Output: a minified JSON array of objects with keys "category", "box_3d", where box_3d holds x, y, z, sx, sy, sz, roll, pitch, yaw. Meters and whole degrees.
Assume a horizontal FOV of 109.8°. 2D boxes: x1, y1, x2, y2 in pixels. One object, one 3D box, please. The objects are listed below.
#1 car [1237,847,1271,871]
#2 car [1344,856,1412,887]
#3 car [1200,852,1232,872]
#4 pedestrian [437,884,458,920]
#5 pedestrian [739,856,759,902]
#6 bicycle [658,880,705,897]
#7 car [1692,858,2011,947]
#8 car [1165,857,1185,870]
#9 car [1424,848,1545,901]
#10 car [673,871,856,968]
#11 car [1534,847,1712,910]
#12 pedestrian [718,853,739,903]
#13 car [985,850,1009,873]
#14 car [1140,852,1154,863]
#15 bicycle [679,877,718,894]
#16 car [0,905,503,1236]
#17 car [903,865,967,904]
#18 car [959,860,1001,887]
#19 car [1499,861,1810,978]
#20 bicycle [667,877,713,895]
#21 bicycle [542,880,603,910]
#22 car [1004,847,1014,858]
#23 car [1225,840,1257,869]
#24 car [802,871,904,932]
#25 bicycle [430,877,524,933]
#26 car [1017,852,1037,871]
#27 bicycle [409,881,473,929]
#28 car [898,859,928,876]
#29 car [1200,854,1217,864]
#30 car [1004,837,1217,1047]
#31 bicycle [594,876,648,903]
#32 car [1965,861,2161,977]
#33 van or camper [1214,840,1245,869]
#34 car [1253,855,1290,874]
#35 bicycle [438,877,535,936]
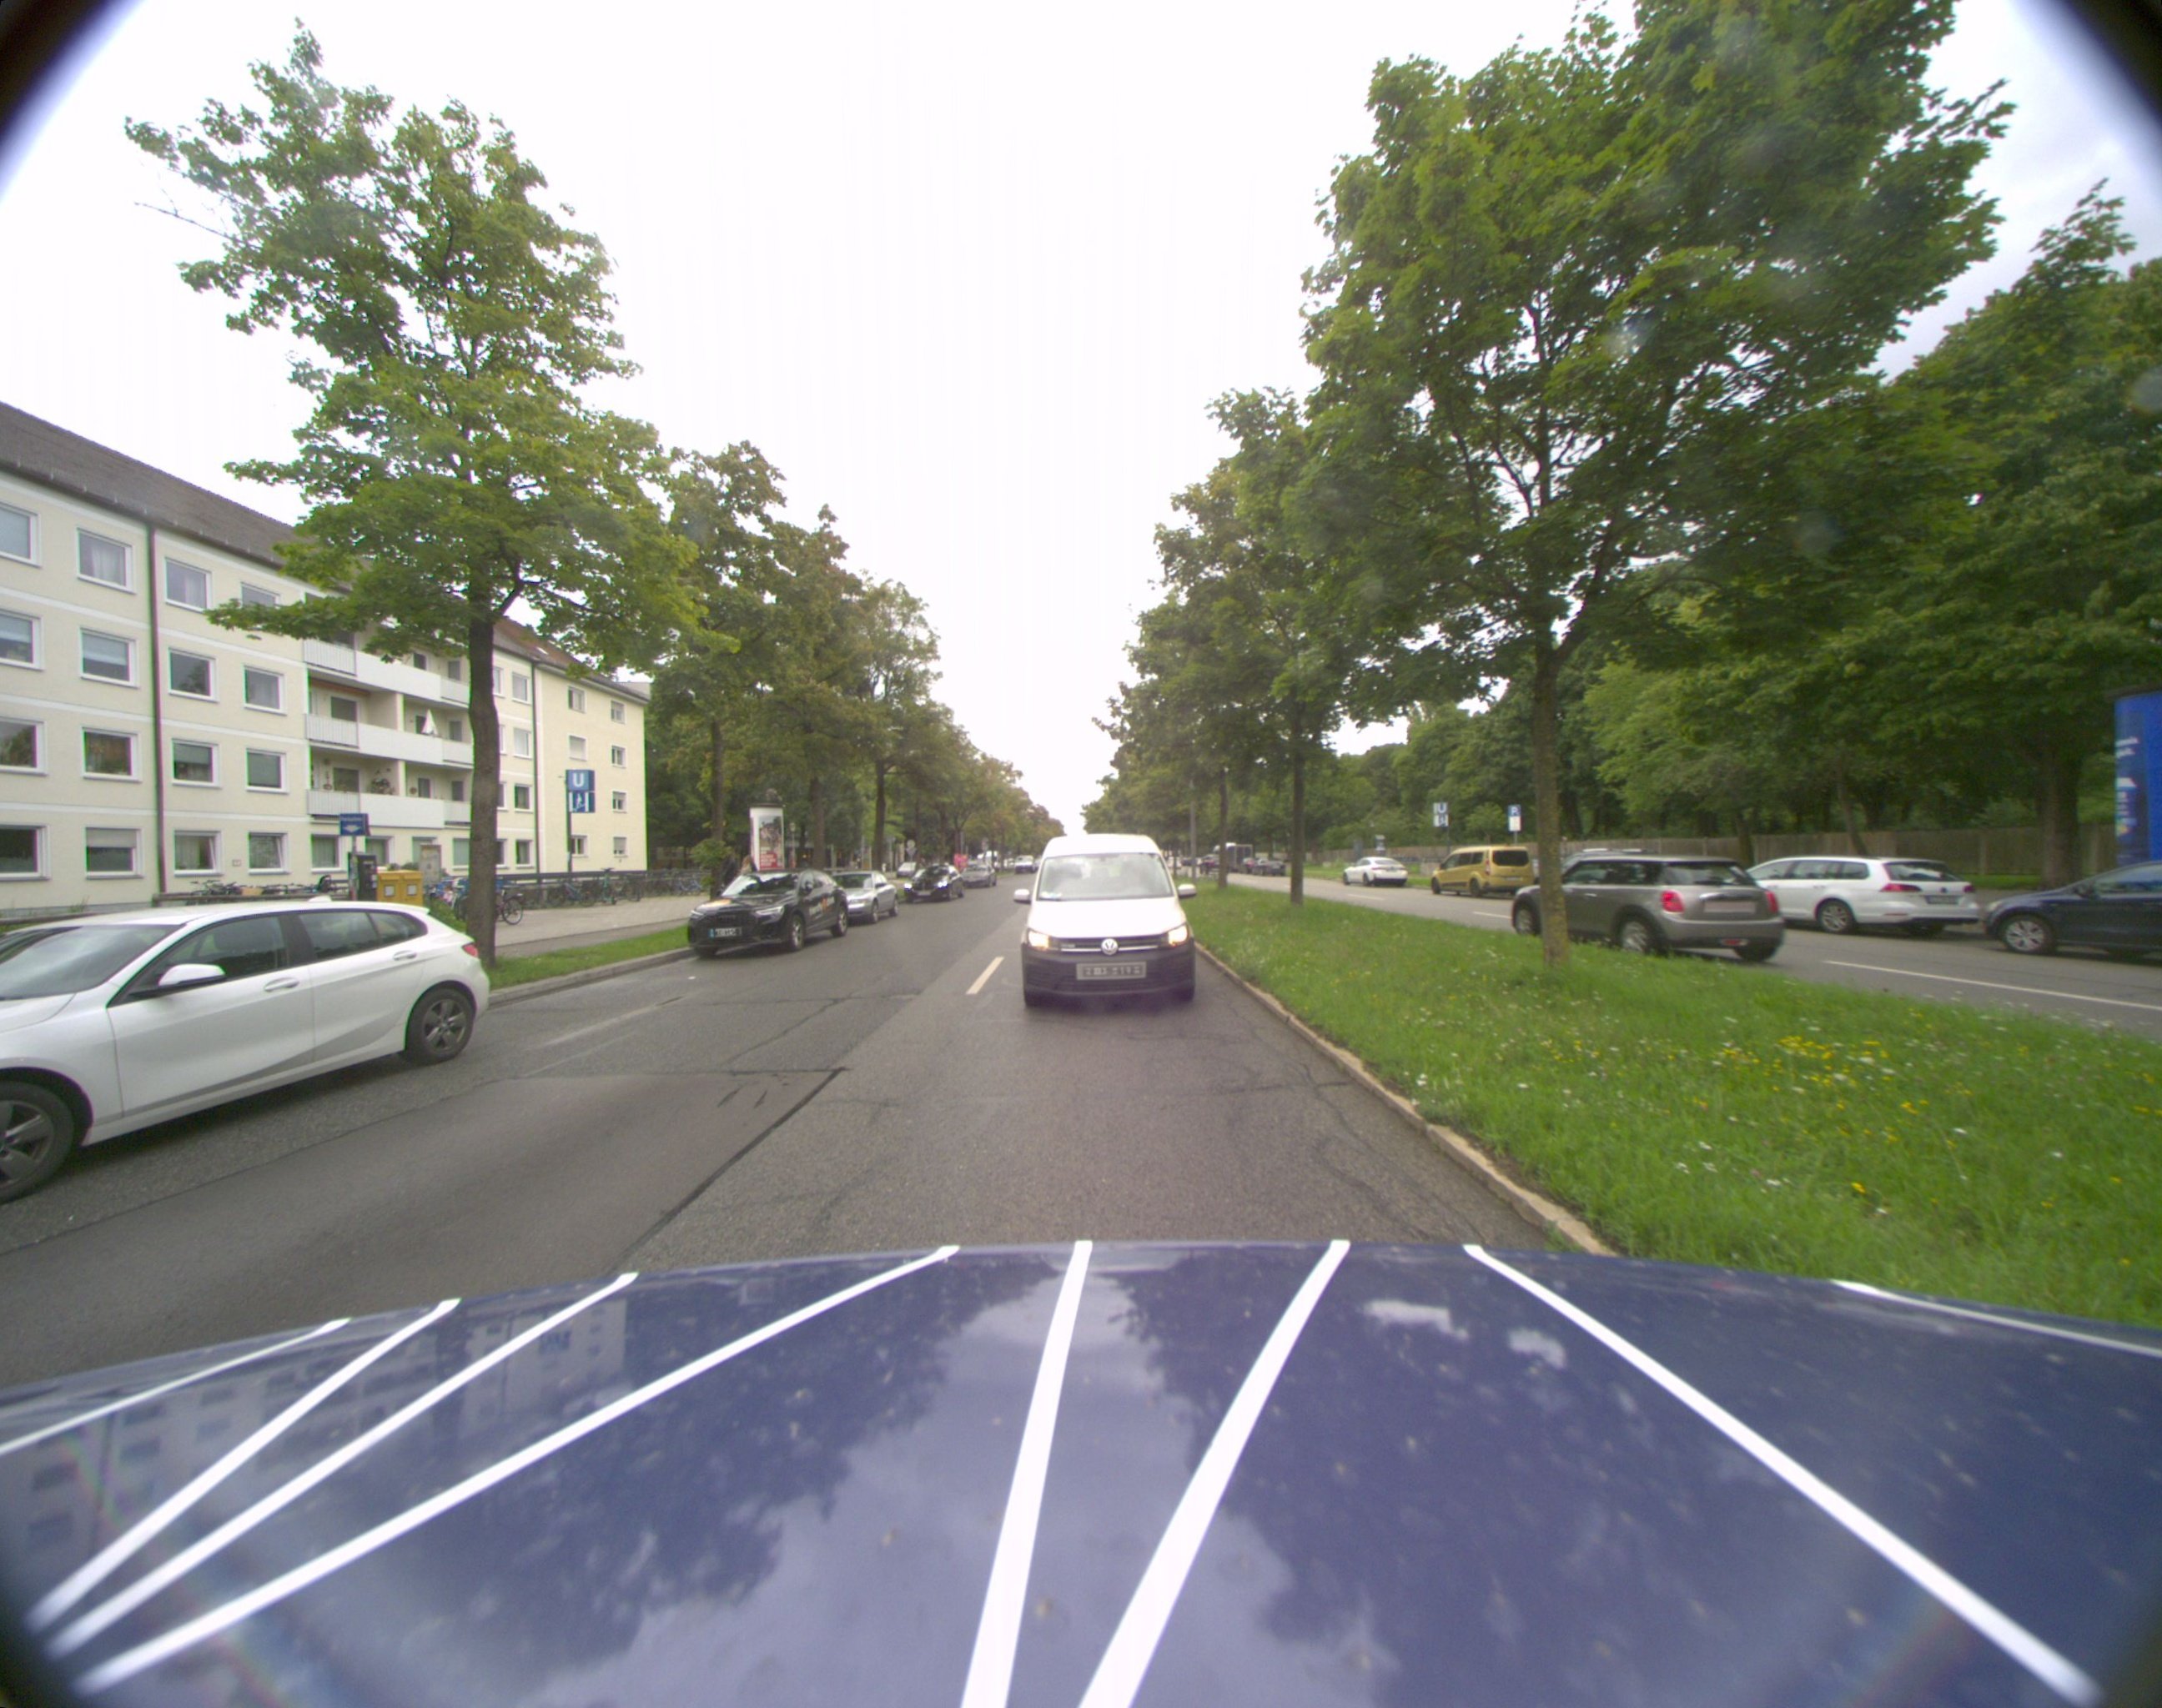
[{"category":"car","box_3d":[14.985,0.428,65.995,1.998,2.002,4.000,-2,0,0]},{"category":"car","box_3d":[14.786,0.831,38.026,1.717,1.434,4.040,0,0,-2]},{"category":"car","box_3d":[11.304,0.637,63.749,1.866,1.659,4.500,1,0,0]},{"category":"pedestrian","box_3d":[-16.851,1.279,20.216,0.338,0.915,0.395,-2,1,-28]},{"category":"pedestrian","box_3d":[-11.904,0.891,27.255,0.560,1.595,0.519,-2,1,-19]},{"category":"bicycle","box_3d":[-16.202,1.386,30.829,1.599,0.634,0.498,1,0,-4]},{"category":"car","box_3d":[14.702,0.819,14.935,1.826,1.461,4.300,0,0,-2]},{"category":"car","box_3d":[11.311,1.132,91.741,1.866,1.447,4.500,1,0,0]},{"category":"car","box_3d":[14.490,0.669,27.605,1.862,1.761,4.533,0,0,-2]},{"category":"car","box_3d":[-5.994,1.159,15.012,1.826,1.502,4.157,-2,0,0]},{"category":"car","box_3d":[14.902,0.610,21.211,2.007,1.607,4.040,0,0,-2]},{"category":"pedestrian","box_3d":[-12.549,0.851,27.035,0.560,1.745,0.656,-2,1,-19]},{"category":"car","box_3d":[-9.636,0.816,87.362,1.998,2.440,4.999,-2,1,1]},{"category":"car","box_3d":[10.341,0.603,119.216,1.866,1.649,4.500,1,0,0]},{"category":"bicycle","box_3d":[-16.214,1.337,32.233,1.392,0.709,0.498,1,0,-4]},{"category":"car","box_3d":[-6.338,1.245,4.903,1.826,1.428,4.287,-3,0,0]},{"category":"car","box_3d":[-5.881,1.187,31.080,1.827,1.371,4.300,-2,0,-1]},{"category":"car","box_3d":[-5.976,1.130,45.284,1.827,1.460,4.300,-2,0,1]},{"category":"car","box_3d":[8.087,0.822,11.224,1.722,1.374,3.767,1,0,0]},{"category":"bicycle","box_3d":[-16.233,1.329,31.570,1.599,0.691,0.498,-2,1,-4]},{"category":"bicycle","box_3d":[-16.516,1.316,24.695,1.599,0.910,0.498,-2,1,-4]},{"category":"car","box_3d":[-17.290,-0.339,181.797,1.999,2.440,4.999,-2,0,-1]},{"category":"car","box_3d":[15.031,0.045,71.570,1.999,2.576,4.499,0,0,-2]},{"category":"car","box_3d":[-6.093,1.217,20.761,1.617,1.371,3.926,-2,0,-1]},{"category":"bicycle","box_3d":[-14.569,1.201,18.416,0.545,1.182,2.076,-2,0,1]},{"category":"car","box_3d":[-5.873,0.806,83.061,1.827,1.939,4.300,-2,0,1]},{"category":"bicycle","box_3d":[-15.789,1.241,18.766,0.466,1.110,1.253,-2,0,1]},{"category":"car","box_3d":[-15.942,1.263,72.159,1.827,1.460,4.300,-2,0,1]},{"category":"car","box_3d":[18.630,0.743,111.378,1.717,1.401,4.040,0,0,-2]},{"category":"car","box_3d":[0.260,0.765,8.919,1.772,1.742,4.545,-3,0,0]},{"category":"bicycle","box_3d":[-16.479,1.272,27.252,1.599,0.910,0.498,0,1,-4]},{"category":"car","box_3d":[14.533,0.845,9.771,1.826,1.438,3.787,1,0,-2]},{"category":"van or camper","box_3d":[14.998,0.051,76.829,1.999,2.791,4.931,0,0,-2]},{"category":"car","box_3d":[14.758,0.815,59.140,1.717,1.401,4.040,0,0,-2]},{"category":"bicycle","box_3d":[-13.667,1.174,17.553,0.545,1.182,2.076,-2,0,1]}]
